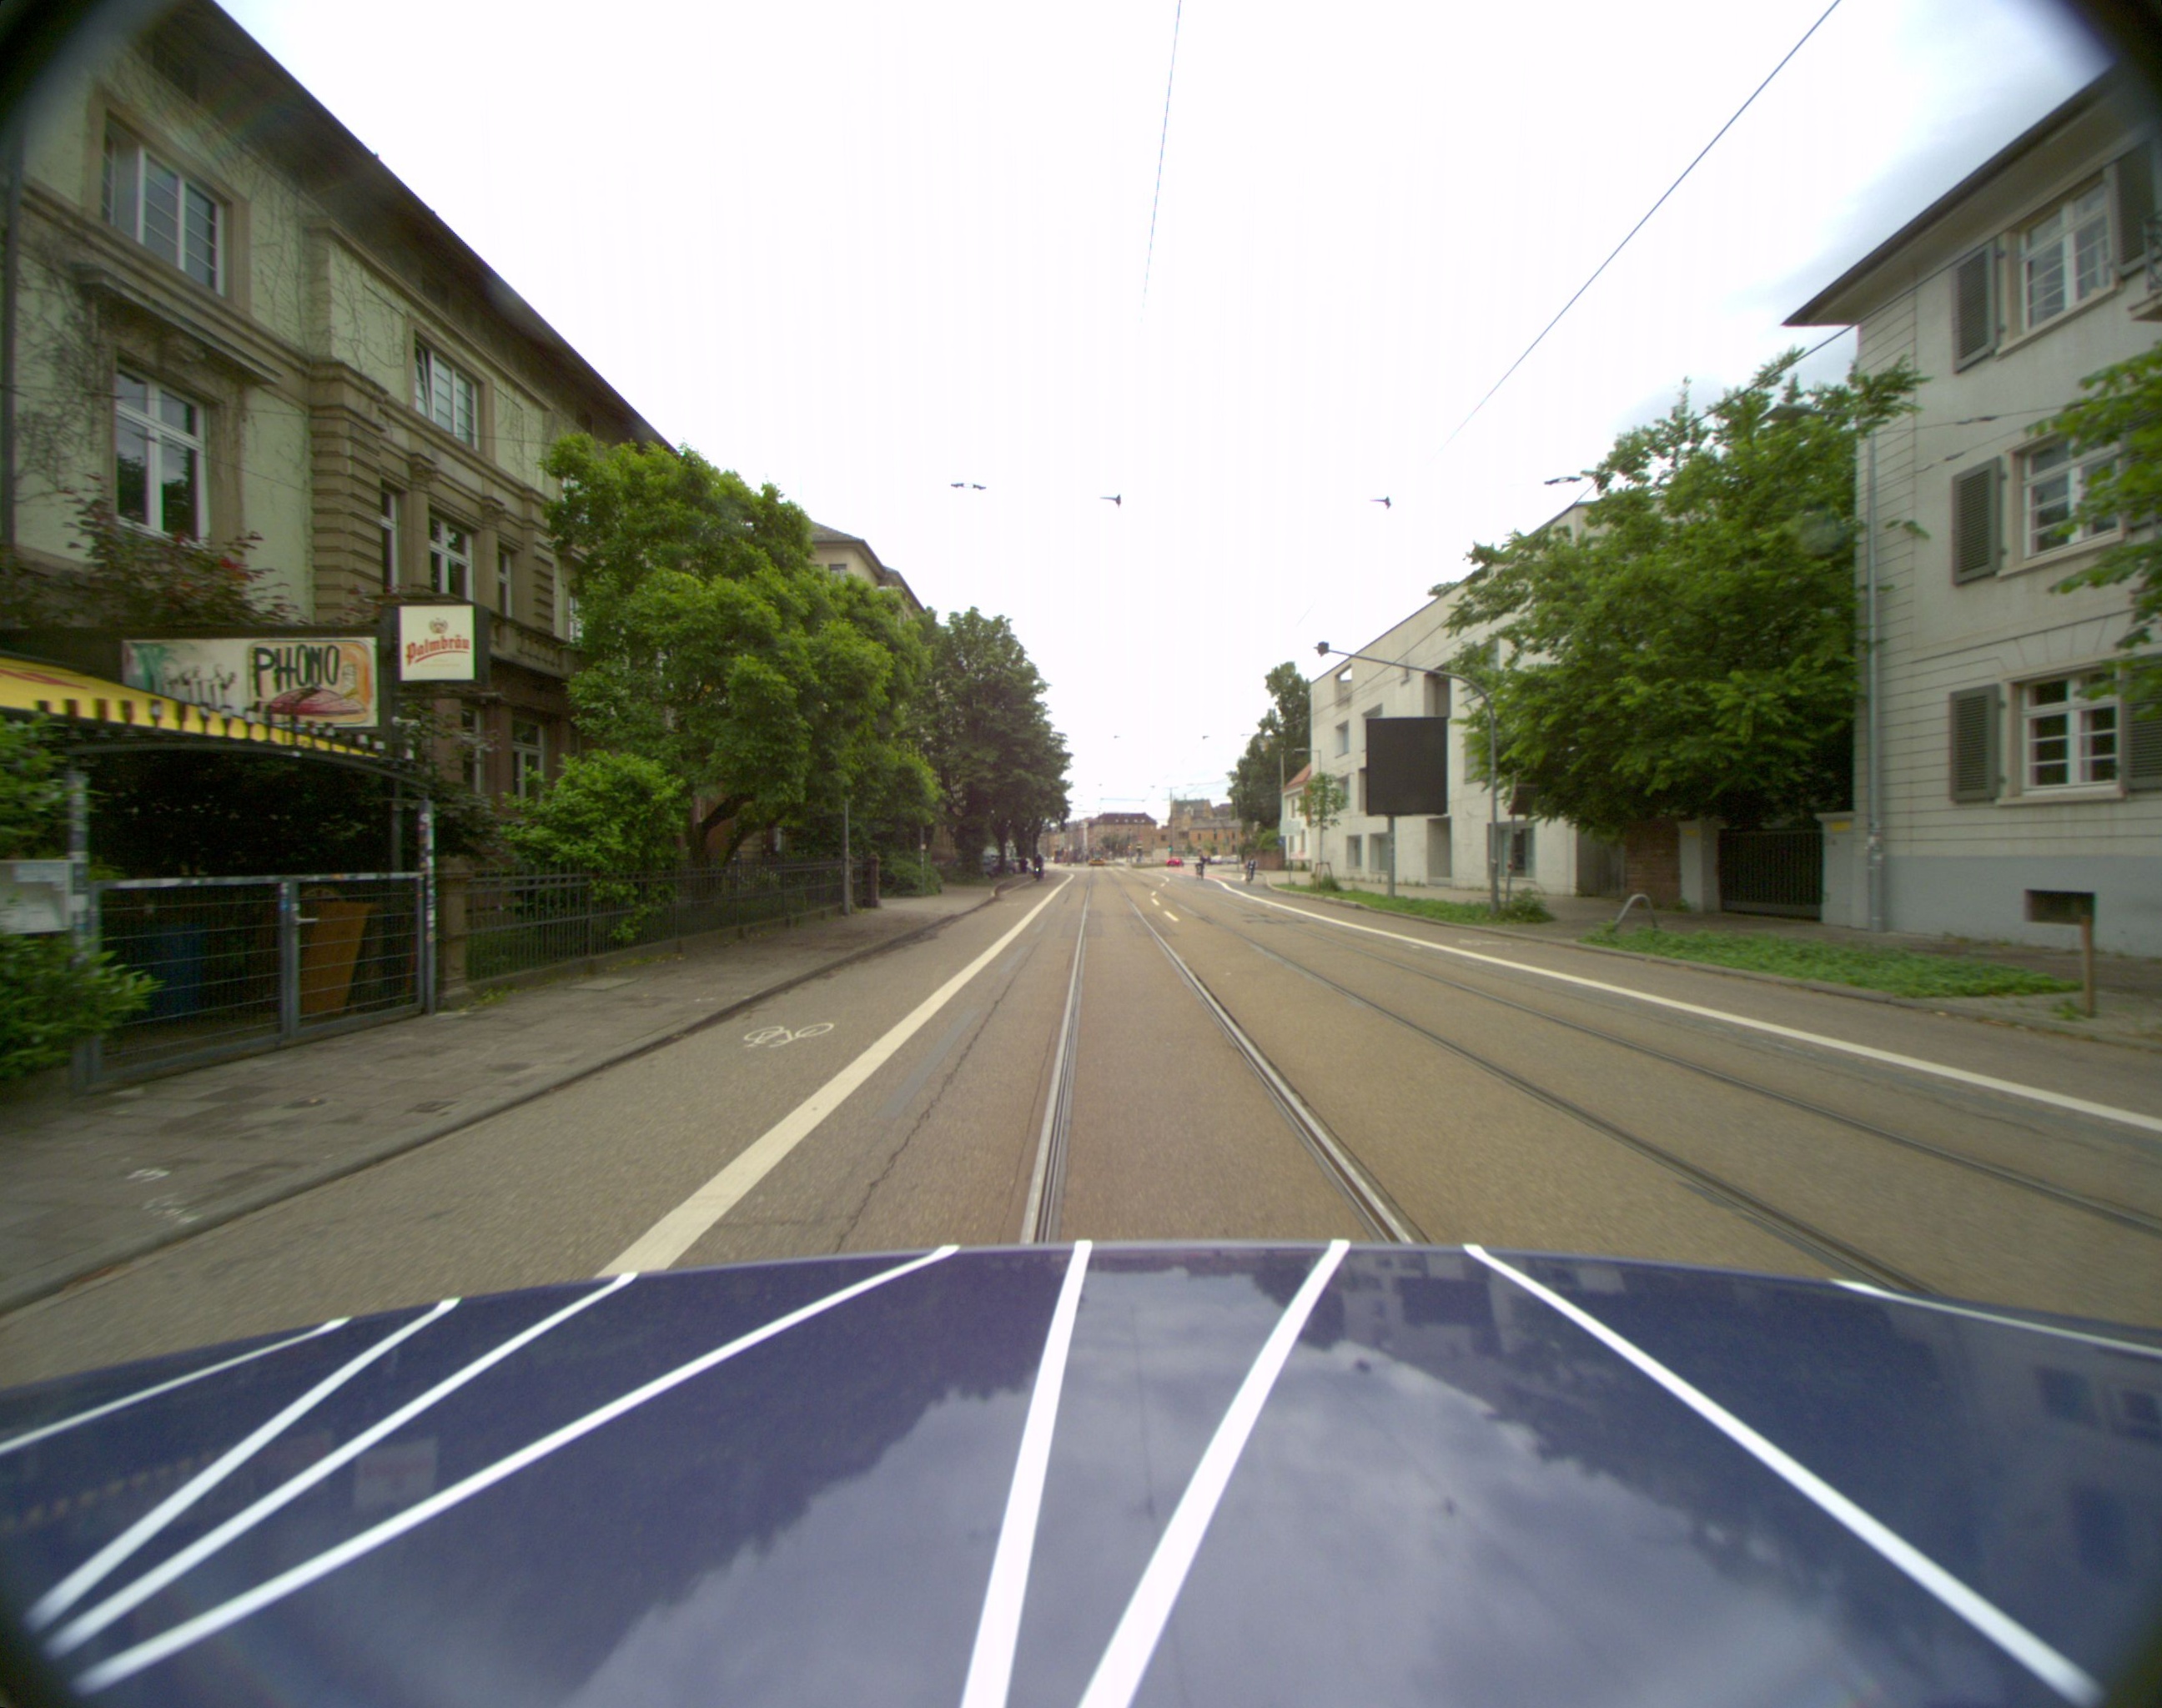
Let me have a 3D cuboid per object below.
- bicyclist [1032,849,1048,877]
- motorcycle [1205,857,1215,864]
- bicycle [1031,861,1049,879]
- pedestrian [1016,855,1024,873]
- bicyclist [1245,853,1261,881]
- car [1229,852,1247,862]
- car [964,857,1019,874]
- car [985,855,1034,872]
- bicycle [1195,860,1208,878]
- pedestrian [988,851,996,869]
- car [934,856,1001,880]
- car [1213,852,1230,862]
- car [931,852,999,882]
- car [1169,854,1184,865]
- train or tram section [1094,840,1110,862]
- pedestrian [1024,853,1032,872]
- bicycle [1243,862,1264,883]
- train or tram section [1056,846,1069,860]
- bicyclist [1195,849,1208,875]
[{"bbox_3d":[-2.776,0.624,51.396,0.881,1.811,1.479,-1,-1,6],"label":"bicyclist"},{"bbox_3d":[20.591,1.093,121.445,1.054,1.063,2.652,-1,0,22],"label":"motorcycle"},{"bbox_3d":[-2.750,1.091,51.595,0.852,1.234,2.311,-1,-2,6],"label":"bicycle"},{"bbox_3d":[-5.696,0.930,70.804,0.645,1.616,0.591,-1,1,-22],"label":"pedestrian"},{"bbox_3d":[10.389,0.776,45.905,0.774,1.681,0.870,0,0,28],"label":"bicyclist"},{"bbox_3d":[27.375,0.507,132.246,1.682,1.641,3.988,0,0,35],"label":"car"},{"bbox_3d":[-7.549,0.952,64.316,4.338,1.394,1.750,0,0,-32],"label":"car"},{"bbox_3d":[-6.781,0.883,72.159,4.330,1.542,1.747,0,0,-21],"label":"car"},{"bbox_3d":[8.481,1.051,53.471,0.793,1.179,2.012,2,0,9],"label":"bicycle"},{"bbox_3d":[-9.189,0.604,78.512,0.680,1.828,0.751,1,1,1],"label":"pedestrian"},{"bbox_3d":[-7.528,0.927,50.684,4.007,1.530,1.860,0,0,-34],"label":"car"},{"bbox_3d":[23.316,0.500,126.242,1.490,1.500,3.476,0,1,34],"label":"car"},{"bbox_3d":[-7.264,0.799,47.724,3.846,1.810,1.803,0,0,-30],"label":"car"},{"bbox_3d":[14.112,0.763,112.137,1.758,1.490,4.004,1,1,14],"label":"car"},{"bbox_3d":[3.669,-0.497,133.381,2.631,3.659,5.985,-1,0,-1],"label":"train or tram section"},{"bbox_3d":[-4.951,0.828,70.874,0.614,1.740,0.685,-1,0,-13],"label":"pedestrian"},{"bbox_3d":[10.407,1.092,45.915,0.774,1.205,1.872,0,0,28],"label":"bicycle"},{"bbox_3d":[-3.931,-0.266,163.961,2.609,2.936,4.965,-1,0,-1],"label":"train or tram section"},{"bbox_3d":[8.490,0.583,53.407,0.793,1.773,1.148,3,1,9],"label":"bicyclist"}]
